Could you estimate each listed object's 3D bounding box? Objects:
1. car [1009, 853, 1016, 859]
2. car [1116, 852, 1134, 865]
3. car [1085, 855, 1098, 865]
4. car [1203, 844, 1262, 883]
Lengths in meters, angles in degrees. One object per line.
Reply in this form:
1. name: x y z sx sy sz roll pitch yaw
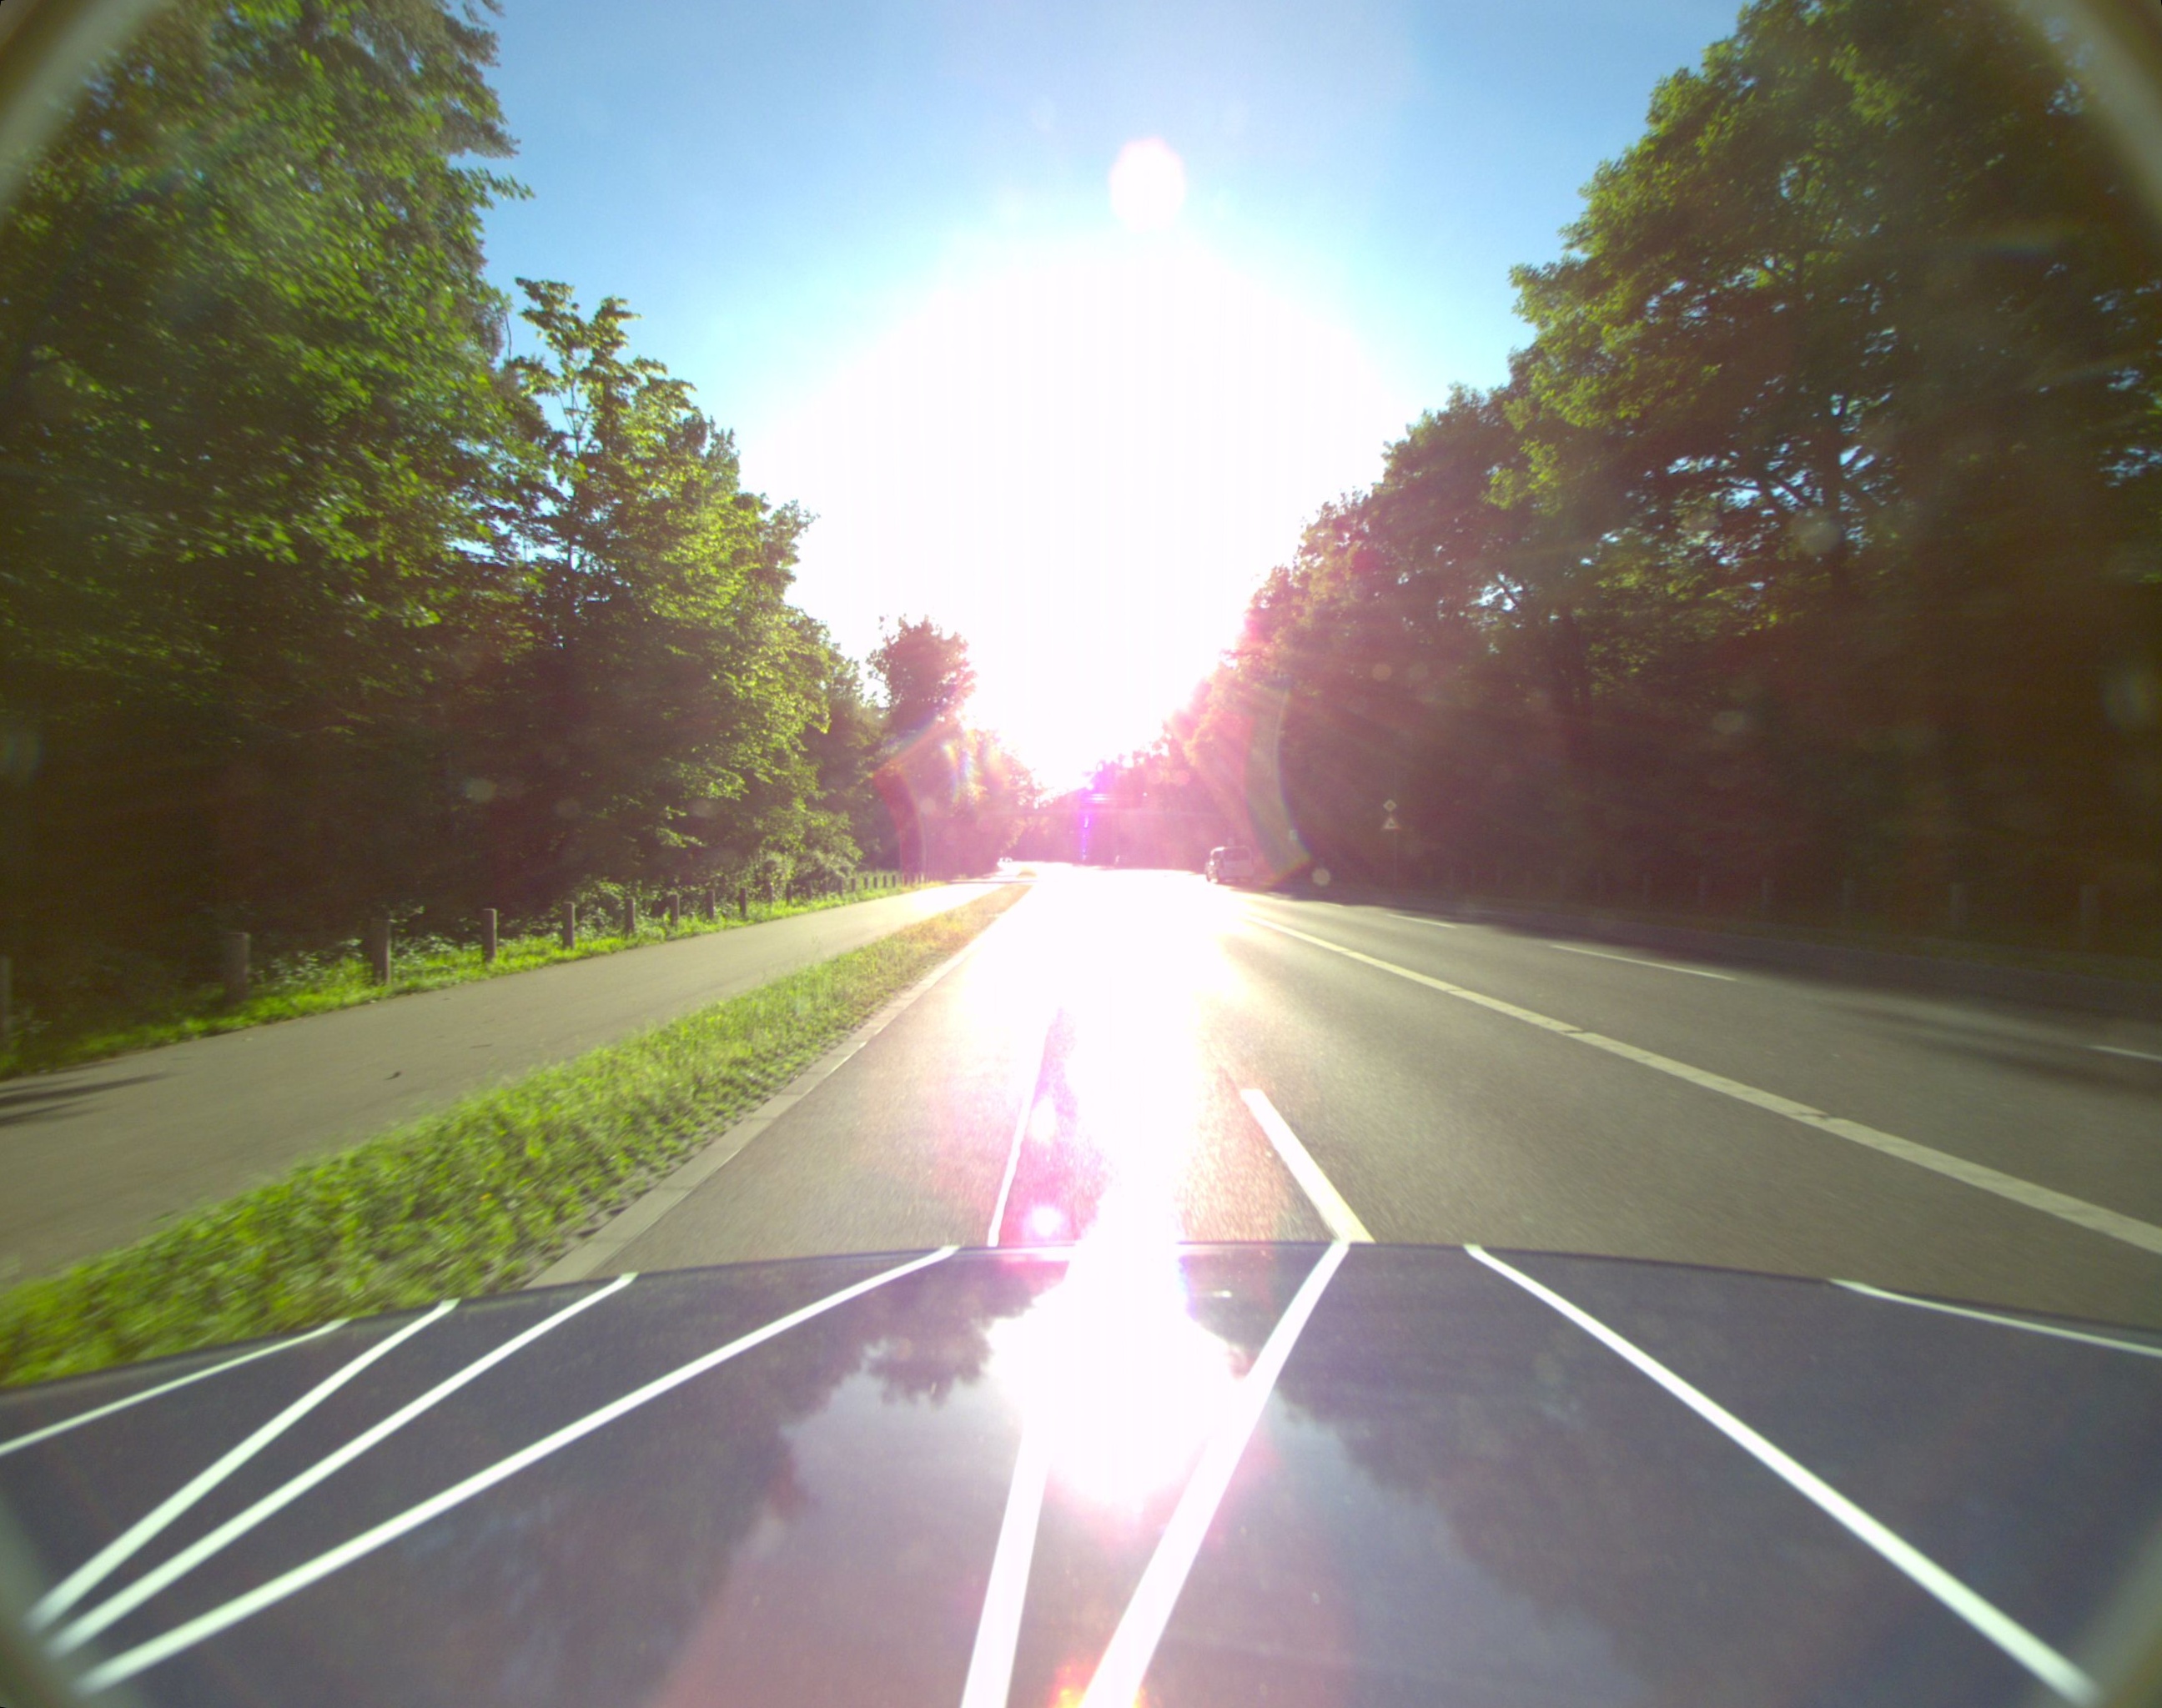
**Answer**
1. car: -22.184 0.591 246.186 1.827 1.674 3.996 -1 0 -9
2. car: 5.316 0.513 92.241 1.517 1.457 4.312 -3 0 -4
3. car: 1.852 1.049 135.919 1.847 1.539 3.998 -2 0 -5
4. car: 7.850 0.452 39.935 2.006 1.815 4.999 -3 0 0
